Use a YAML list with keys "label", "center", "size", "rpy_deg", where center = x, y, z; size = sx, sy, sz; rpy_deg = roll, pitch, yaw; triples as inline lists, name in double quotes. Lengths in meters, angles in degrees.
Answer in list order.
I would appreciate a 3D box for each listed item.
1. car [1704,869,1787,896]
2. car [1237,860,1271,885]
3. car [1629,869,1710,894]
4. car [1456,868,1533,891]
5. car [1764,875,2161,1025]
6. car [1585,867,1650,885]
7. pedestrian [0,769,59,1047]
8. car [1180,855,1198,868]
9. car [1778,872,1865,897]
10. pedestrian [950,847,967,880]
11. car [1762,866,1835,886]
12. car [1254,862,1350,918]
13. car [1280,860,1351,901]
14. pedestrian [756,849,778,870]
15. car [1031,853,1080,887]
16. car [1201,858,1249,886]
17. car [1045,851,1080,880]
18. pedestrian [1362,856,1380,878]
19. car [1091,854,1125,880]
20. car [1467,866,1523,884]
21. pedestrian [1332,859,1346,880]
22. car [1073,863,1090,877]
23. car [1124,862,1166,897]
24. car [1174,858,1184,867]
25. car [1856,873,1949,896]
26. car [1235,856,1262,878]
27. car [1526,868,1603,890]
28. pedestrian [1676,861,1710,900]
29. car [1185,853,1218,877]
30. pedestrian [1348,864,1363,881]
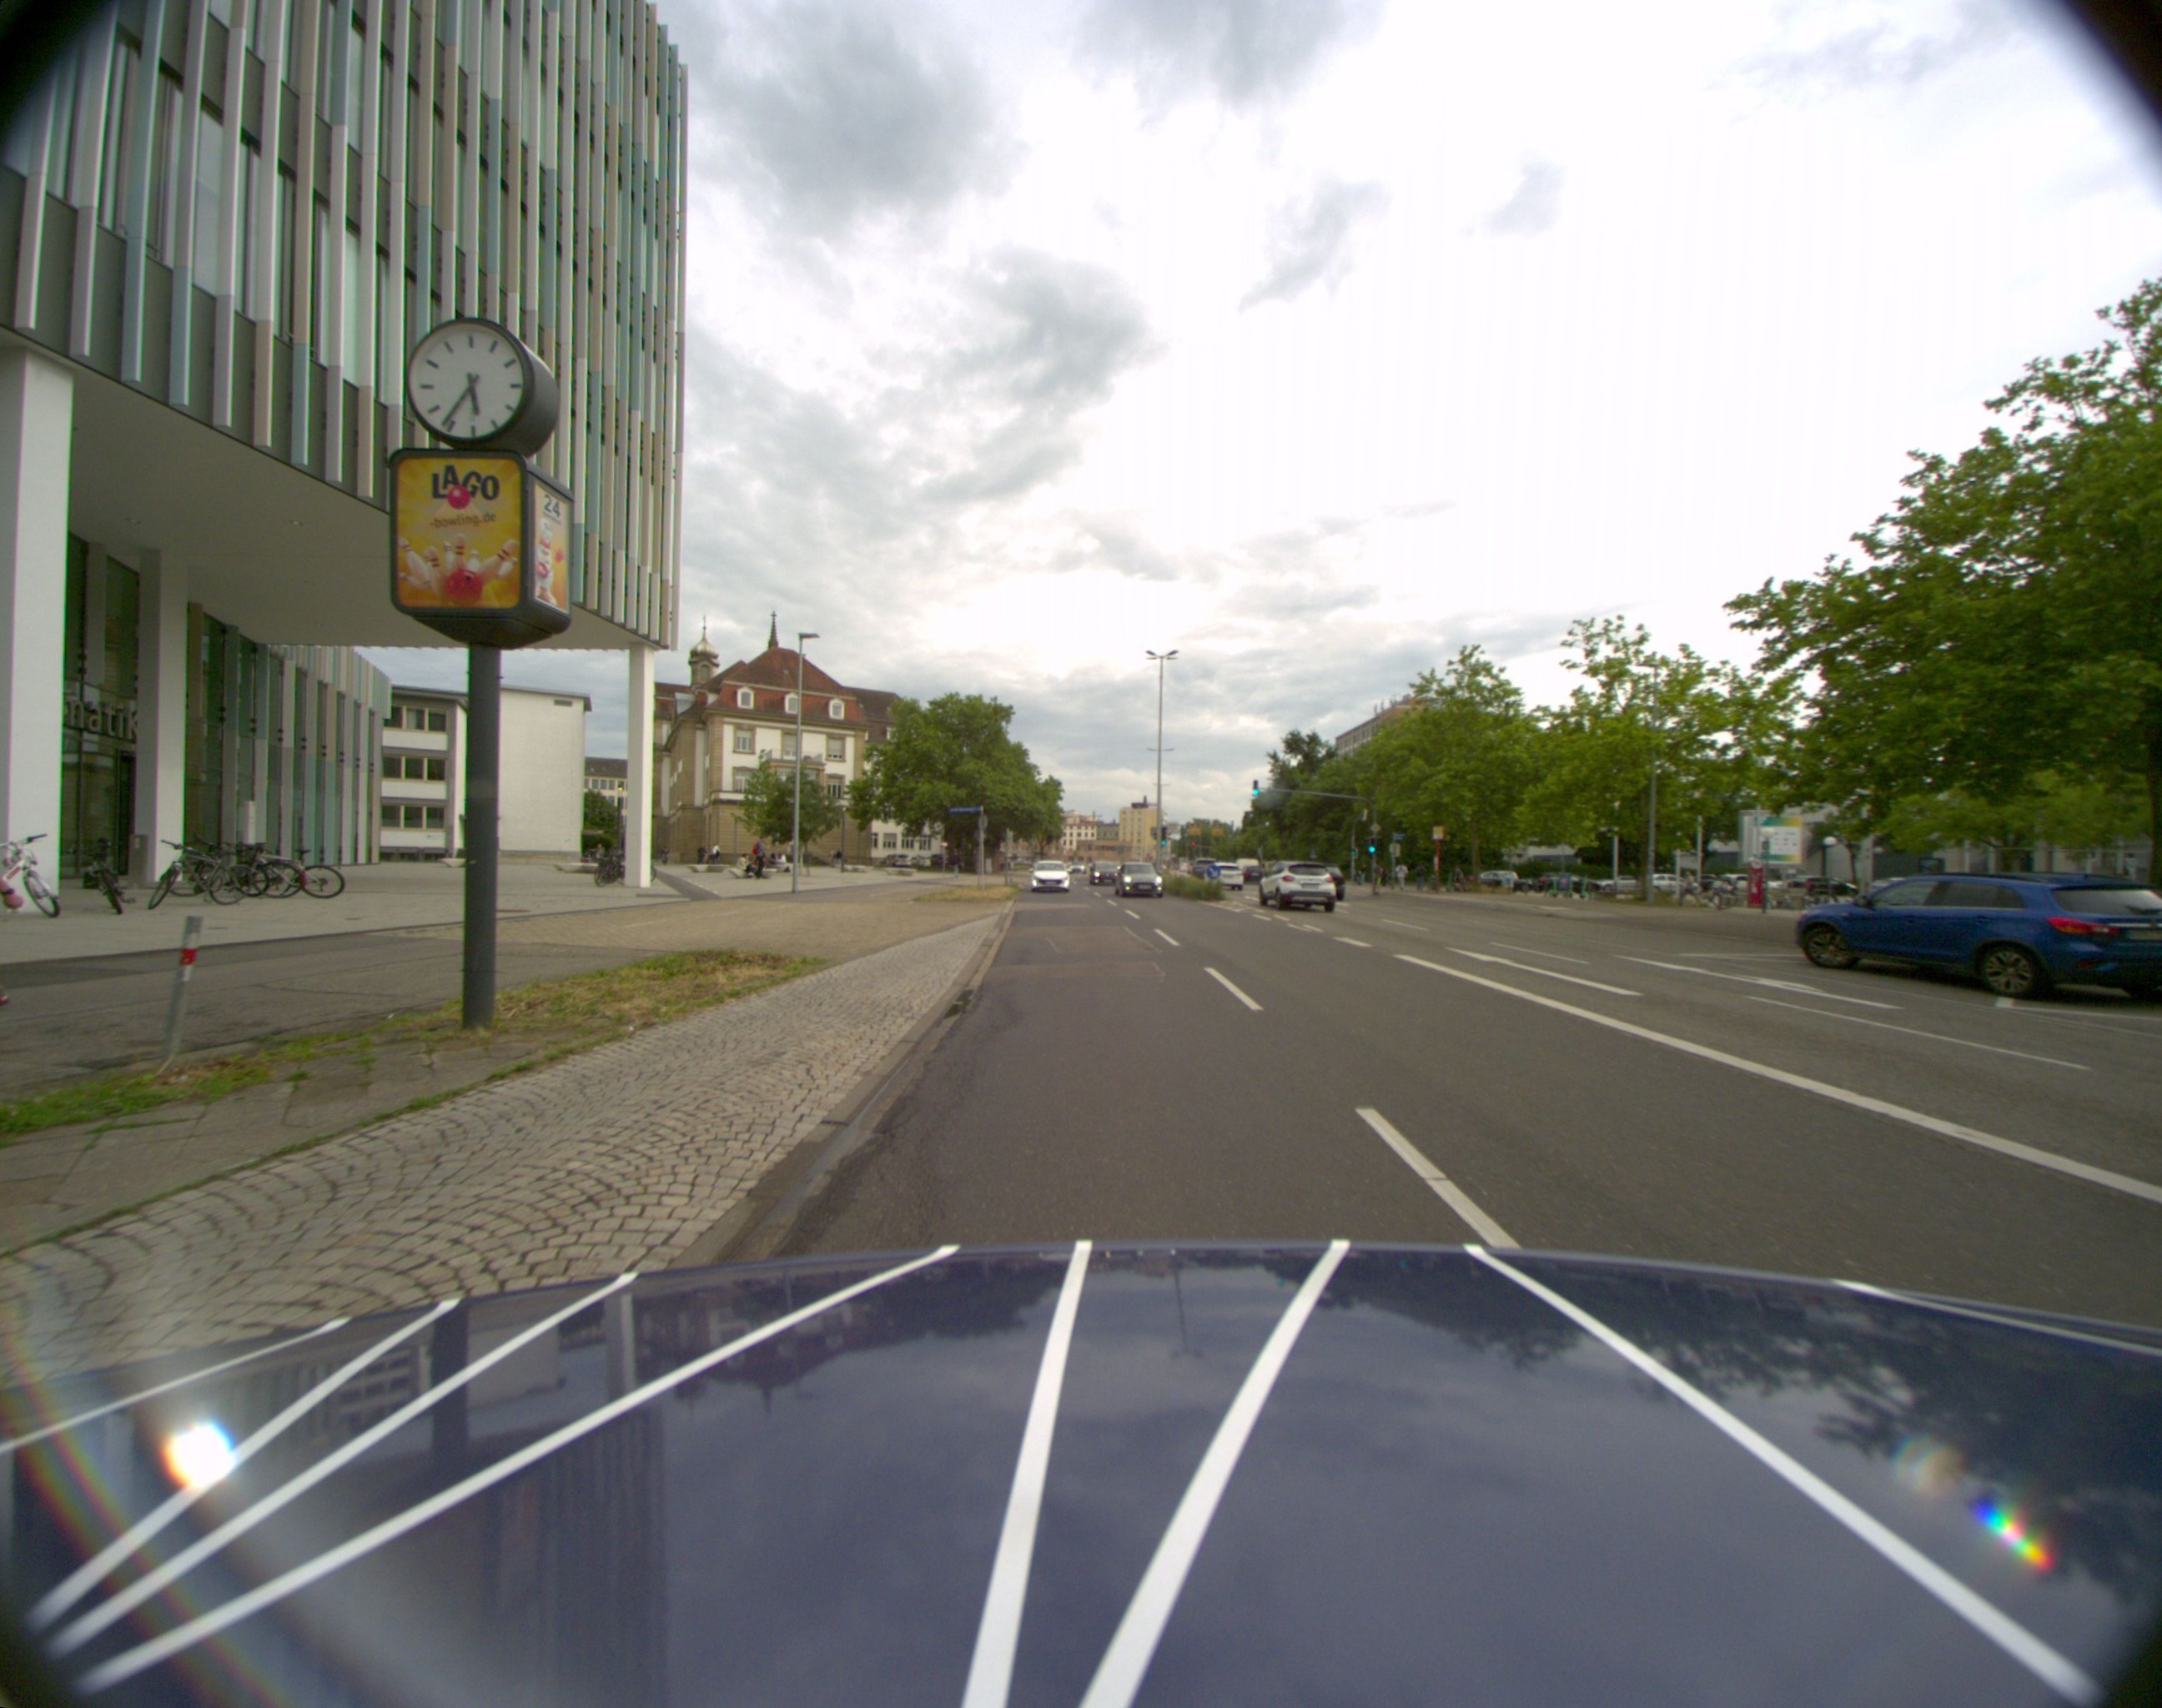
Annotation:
- label: "car"
  center: [45.332, 1.949, 51.896]
  size: [3.997, 1.674, 1.854]
  rpy_deg: [1, 0, 1]
- label: "car"
  center: [12.799, 1.361, 56.500]
  size: [1.702, 1.680, 4.000]
  rpy_deg: [2, 0, 2]
- label: "car"
  center: [40.122, 1.862, 51.887]
  size: [3.997, 1.570, 2.000]
  rpy_deg: [-1, 0, 1]
- label: "car"
  center: [28.268, 1.708, 52.042]
  size: [4.153, 1.463, 2.000]
  rpy_deg: [-1, 0, -1]
- label: "car"
  center: [12.775, 1.164, 10.981]
  size: [1.863, 1.598, 4.594]
  rpy_deg: [-1, 0, 4]
- label: "car"
  center: [44.605, 1.848, 63.264]
  size: [3.996, 1.383, 2.000]
  rpy_deg: [-1, 0, 3]
- label: "pedestrian"
  center: [-8.195, 0.372, 5.308]
  size: [0.844, 2.002, 0.894]
  rpy_deg: [3, 1, 4]
- label: "car"
  center: [13.163, 0.931, 92.878]
  size: [1.961, 1.574, 4.258]
  rpy_deg: [1, -1, 5]
- label: "car"
  center: [50.177, 2.067, 51.538]
  size: [3.996, 1.544, 1.889]
  rpy_deg: [2, 0, 2]
- label: "pedestrian"
  center: [-7.636, 0.572, 47.454]
  size: [0.844, 2.002, 0.894]
  rpy_deg: [1, 0, 4]
- label: "car"
  center: [59.027, 1.791, 62.599]
  size: [3.996, 1.532, 2.001]
  rpy_deg: [1, 0, 4]
- label: "car"
  center: [7.174, 1.109, 25.115]
  size: [1.998, 1.538, 4.180]
  rpy_deg: [3, 0, 2]
- label: "car"
  center: [10.701, 1.171, 34.997]
  size: [1.998, 1.684, 4.468]
  rpy_deg: [2, 0, 2]
- label: "pedestrian"
  center: [-18.564, 0.314, 44.967]
  size: [0.911, 1.250, 0.879]
  rpy_deg: [-1, 0, 5]
- label: "car"
  center: [-1.155, 0.737, 36.778]
  size: [1.812, 1.532, 4.002]
  rpy_deg: [1, 0, 6]
- label: "car"
  center: [8.049, 0.986, 42.778]
  size: [1.908, 1.457, 4.911]
  rpy_deg: [-1, 0, 2]
- label: "car"
  center: [-1.338, 0.846, 55.535]
  size: [1.997, 2.002, 4.002]
  rpy_deg: [1, 0, 6]
- label: "pedestrian"
  center: [26.229, 1.175, 68.625]
  size: [1.043, 2.002, 1.098]
  rpy_deg: [-1, 0, -29]
- label: "car"
  center: [1.707, 0.781, 46.835]
  size: [1.731, 1.450, 4.002]
  rpy_deg: [1, 0, 6]
- label: "car"
  center: [34.562, 1.755, 63.493]
  size: [3.593, 1.441, 1.863]
  rpy_deg: [0, 0, 2]
- label: "pedestrian"
  center: [21.712, 1.304, 63.975]
  size: [0.590, 1.685, 0.653]
  rpy_deg: [16, 2, 5]
- label: "car"
  center: [0.071, 1.760, 83.892]
  size: [1.605, 1.360, 3.579]
  rpy_deg: [0, 2, 4]
- label: "car"
  center: [2.726, 1.045, 31.953]
  size: [1.624, 1.310, 3.707]
  rpy_deg: [1, 0, 6]
- label: "car"
  center: [19.256, 1.630, 148.888]
  size: [1.892, 1.762, 4.002]
  rpy_deg: [-1, 0, 6]
- label: "car"
  center: [55.266, 2.011, 51.168]
  size: [3.996, 1.353, 2.008]
  rpy_deg: [2, 0, 2]
- label: "car"
  center: [14.384, 1.110, 65.486]
  size: [1.775, 1.837, 4.491]
  rpy_deg: [-1, 0, 6]
- label: "car"
  center: [33.086, 1.696, 52.049]
  size: [3.997, 1.463, 2.000]
  rpy_deg: [-1, 0, -1]
- label: "pedestrian"
  center: [31.872, 1.382, 39.590]
  size: [0.796, 2.002, 1.096]
  rpy_deg: [1, 1, -15]
- label: "car"
  center: [8.844, 0.787, 56.164]
  size: [1.998, 1.677, 4.949]
  rpy_deg: [0, 0, 4]
- label: "pedestrian"
  center: [23.502, 1.565, 65.014]
  size: [0.701, 1.420, 0.998]
  rpy_deg: [-1, 0, -26]
